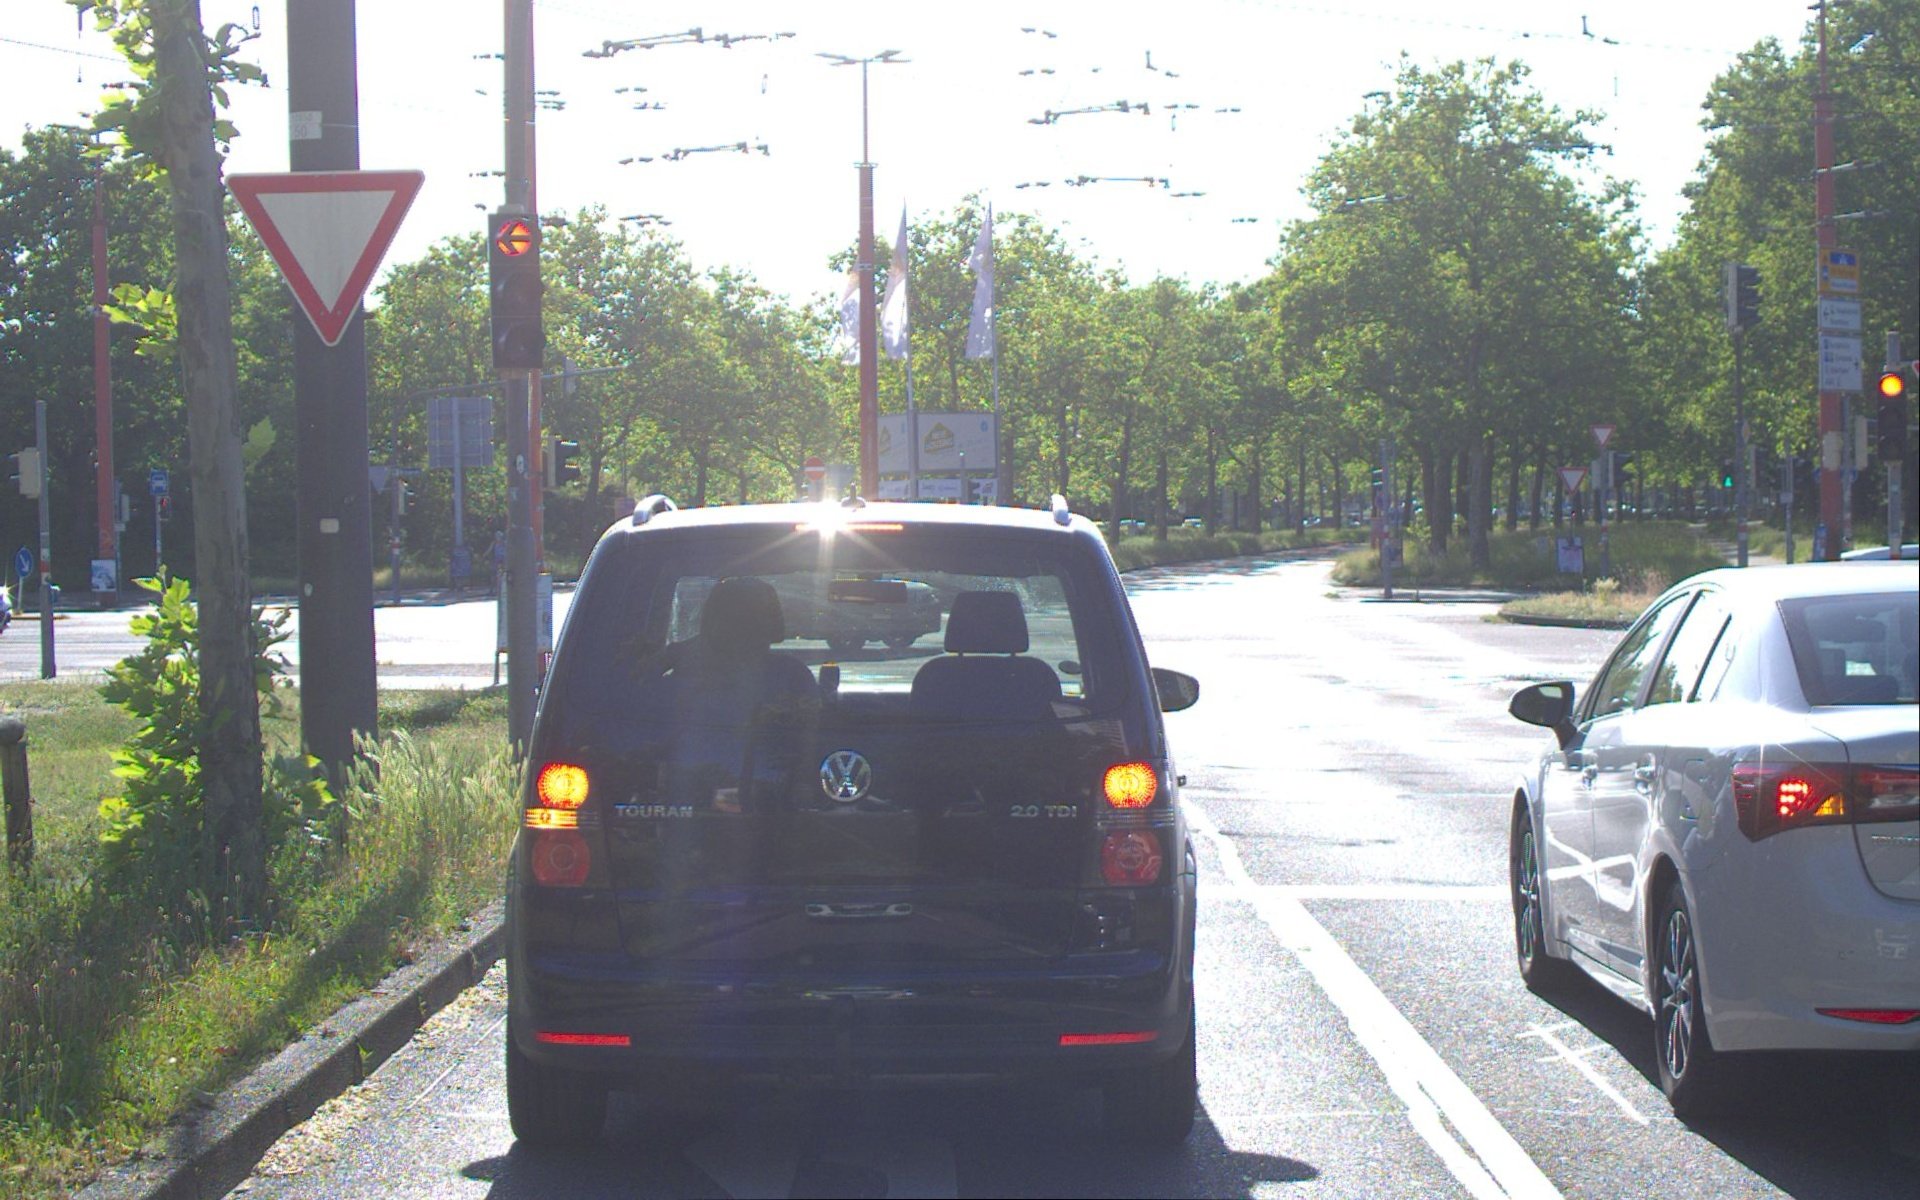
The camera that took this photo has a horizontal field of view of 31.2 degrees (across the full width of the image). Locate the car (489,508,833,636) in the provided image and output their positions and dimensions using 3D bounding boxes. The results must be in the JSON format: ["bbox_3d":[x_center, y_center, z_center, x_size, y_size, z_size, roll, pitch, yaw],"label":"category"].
[{"bbox_3d":[-4.443,-0.423,50.951,4.787,1.829,1.911,0,1,27],"label":"car"}]

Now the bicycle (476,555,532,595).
[{"bbox_3d":[-12.525,-0.689,94.434,0.735,1.086,1.959,0,1,18],"label":"bicycle"}]

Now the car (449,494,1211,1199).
[{"bbox_3d":[-0.319,0.545,9.894,1.737,1.635,4.000,0,1,-1],"label":"car"}]

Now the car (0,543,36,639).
[{"bbox_3d":[-18.224,-0.154,58.498,4.787,1.592,1.911,0,1,27],"label":"car"}]

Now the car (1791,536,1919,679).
[{"bbox_3d":[11.915,0.069,38.061,4.922,1.569,1.997,0,1,29],"label":"car"}]

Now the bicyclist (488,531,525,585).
[{"bbox_3d":[-12.494,-1.157,94.645,0.693,1.452,0.874,0,1,18],"label":"bicyclist"}]

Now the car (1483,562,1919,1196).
[{"bbox_3d":[2.684,0.629,10.095,1.715,1.449,4.144,0,1,1],"label":"car"}]
